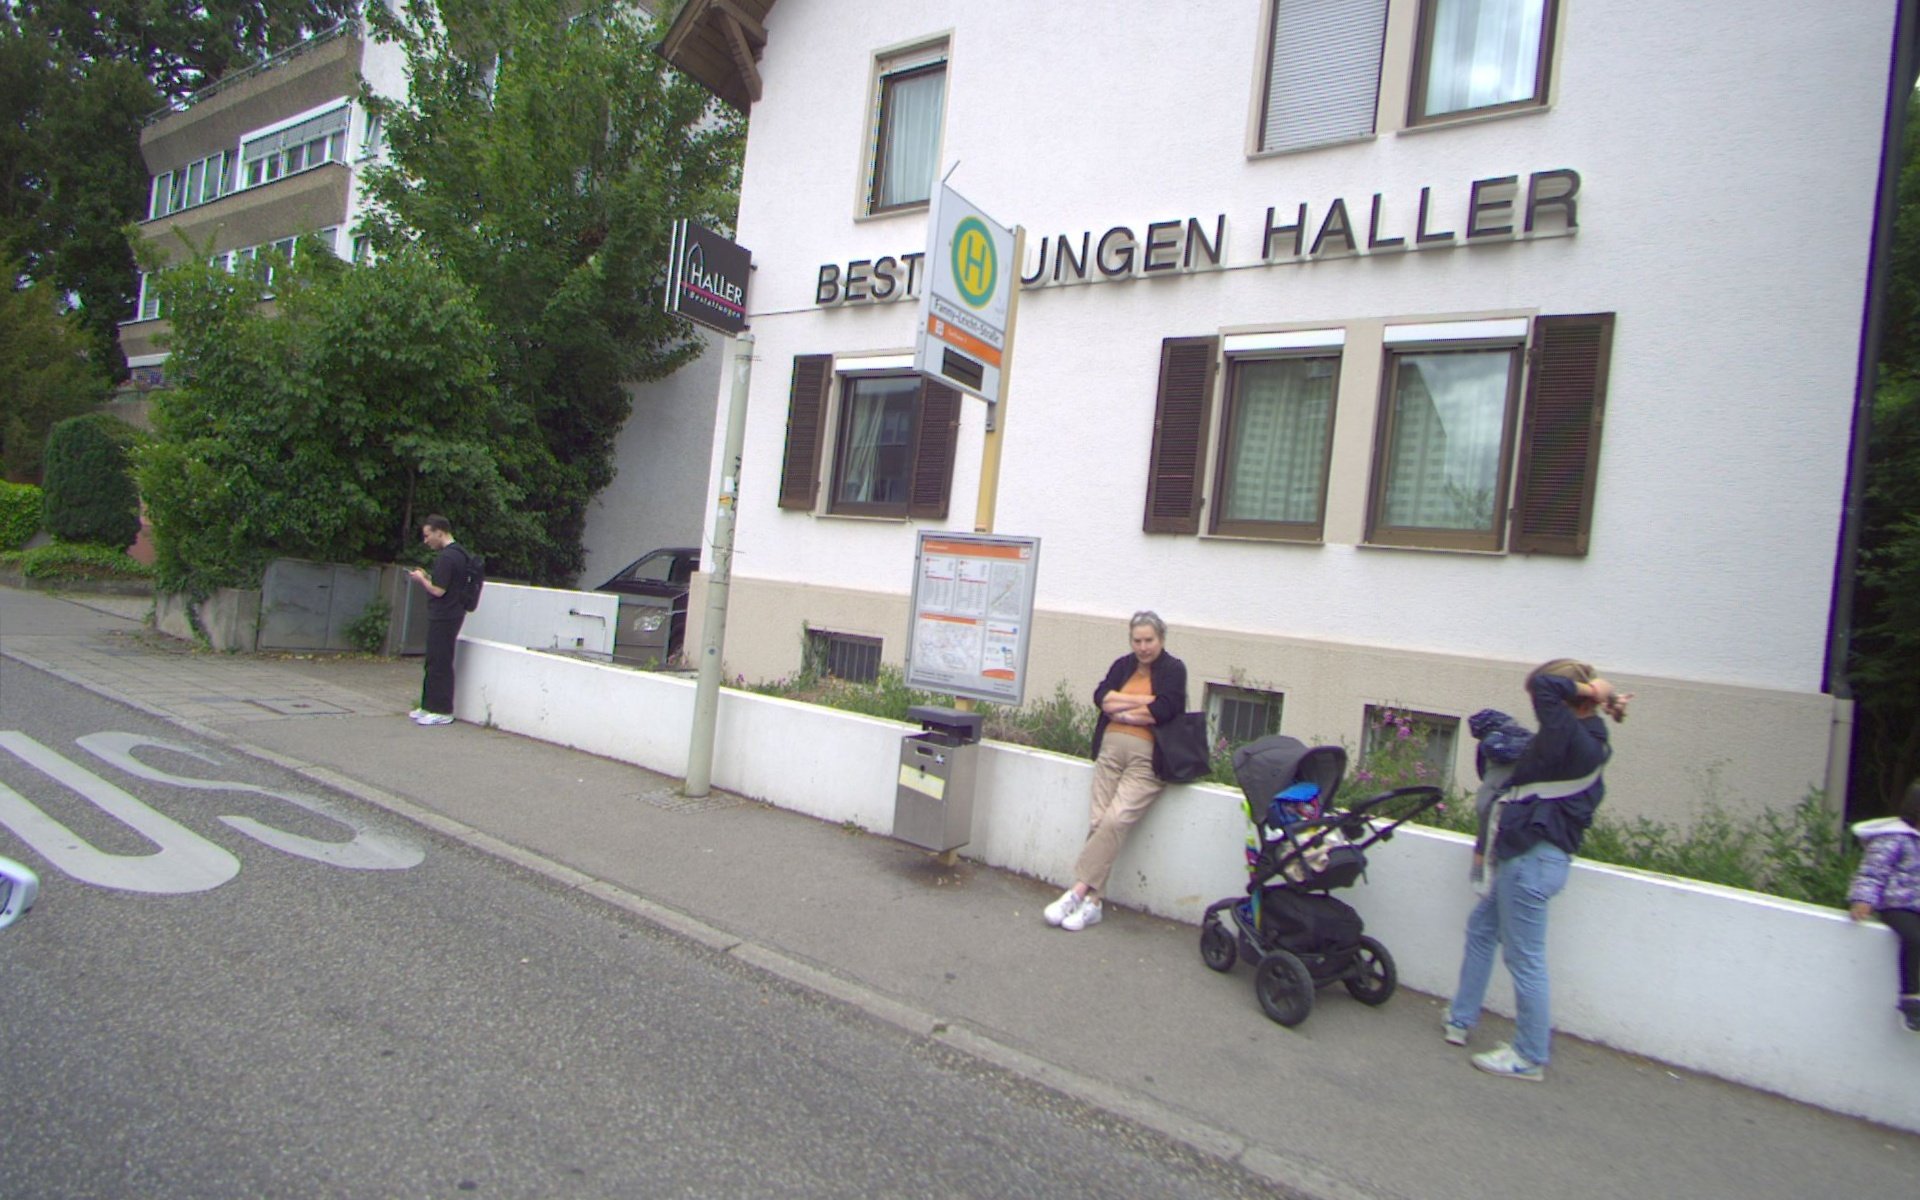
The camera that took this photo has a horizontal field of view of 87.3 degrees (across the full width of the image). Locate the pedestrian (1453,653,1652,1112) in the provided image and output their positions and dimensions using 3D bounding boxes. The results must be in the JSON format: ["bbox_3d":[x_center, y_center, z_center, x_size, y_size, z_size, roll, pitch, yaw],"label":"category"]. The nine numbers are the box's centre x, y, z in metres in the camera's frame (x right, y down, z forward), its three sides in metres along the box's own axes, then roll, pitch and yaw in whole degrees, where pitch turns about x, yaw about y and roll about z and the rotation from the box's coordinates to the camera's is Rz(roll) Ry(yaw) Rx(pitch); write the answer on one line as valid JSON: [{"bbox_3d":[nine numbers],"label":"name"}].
[{"bbox_3d":[2.191,0.981,3.716,0.356,1.538,0.548,9,5,42],"label":"pedestrian"}]

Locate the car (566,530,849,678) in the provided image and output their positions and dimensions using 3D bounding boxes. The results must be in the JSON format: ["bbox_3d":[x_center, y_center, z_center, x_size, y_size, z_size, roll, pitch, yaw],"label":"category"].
[{"bbox_3d":[-3.657,0.123,15.308,1.855,1.811,3.993,7,0,28],"label":"car"}]

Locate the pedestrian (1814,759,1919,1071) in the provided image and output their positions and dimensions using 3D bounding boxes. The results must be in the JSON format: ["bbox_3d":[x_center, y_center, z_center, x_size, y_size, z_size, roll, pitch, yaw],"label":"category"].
[{"bbox_3d":[3.412,1.110,3.568,0.376,0.978,0.454,7,5,27],"label":"pedestrian"}]

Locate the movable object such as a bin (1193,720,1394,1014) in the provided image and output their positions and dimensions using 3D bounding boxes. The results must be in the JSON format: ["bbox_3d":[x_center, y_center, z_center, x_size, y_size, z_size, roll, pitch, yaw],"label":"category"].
[{"bbox_3d":[1.413,1.097,4.309,0.436,1.073,0.563,3,5,-31],"label":"movable object such as a bin"}]

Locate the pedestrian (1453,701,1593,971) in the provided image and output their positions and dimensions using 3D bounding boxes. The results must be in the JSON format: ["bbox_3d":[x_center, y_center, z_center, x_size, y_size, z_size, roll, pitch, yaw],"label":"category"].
[{"bbox_3d":[2.338,0.954,4.211,0.376,0.978,0.454,7,5,27],"label":"pedestrian"}]

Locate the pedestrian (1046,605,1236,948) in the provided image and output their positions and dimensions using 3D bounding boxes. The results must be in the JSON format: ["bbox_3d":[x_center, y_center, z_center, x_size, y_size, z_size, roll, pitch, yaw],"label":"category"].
[{"bbox_3d":[0.929,0.820,5.067,0.594,1.520,0.780,7,3,27],"label":"pedestrian"}]

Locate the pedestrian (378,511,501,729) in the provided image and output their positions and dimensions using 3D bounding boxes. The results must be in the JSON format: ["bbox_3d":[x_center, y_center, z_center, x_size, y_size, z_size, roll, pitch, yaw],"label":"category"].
[{"bbox_3d":[-4.375,0.170,8.467,0.520,1.733,0.586,7,1,30],"label":"pedestrian"}]
